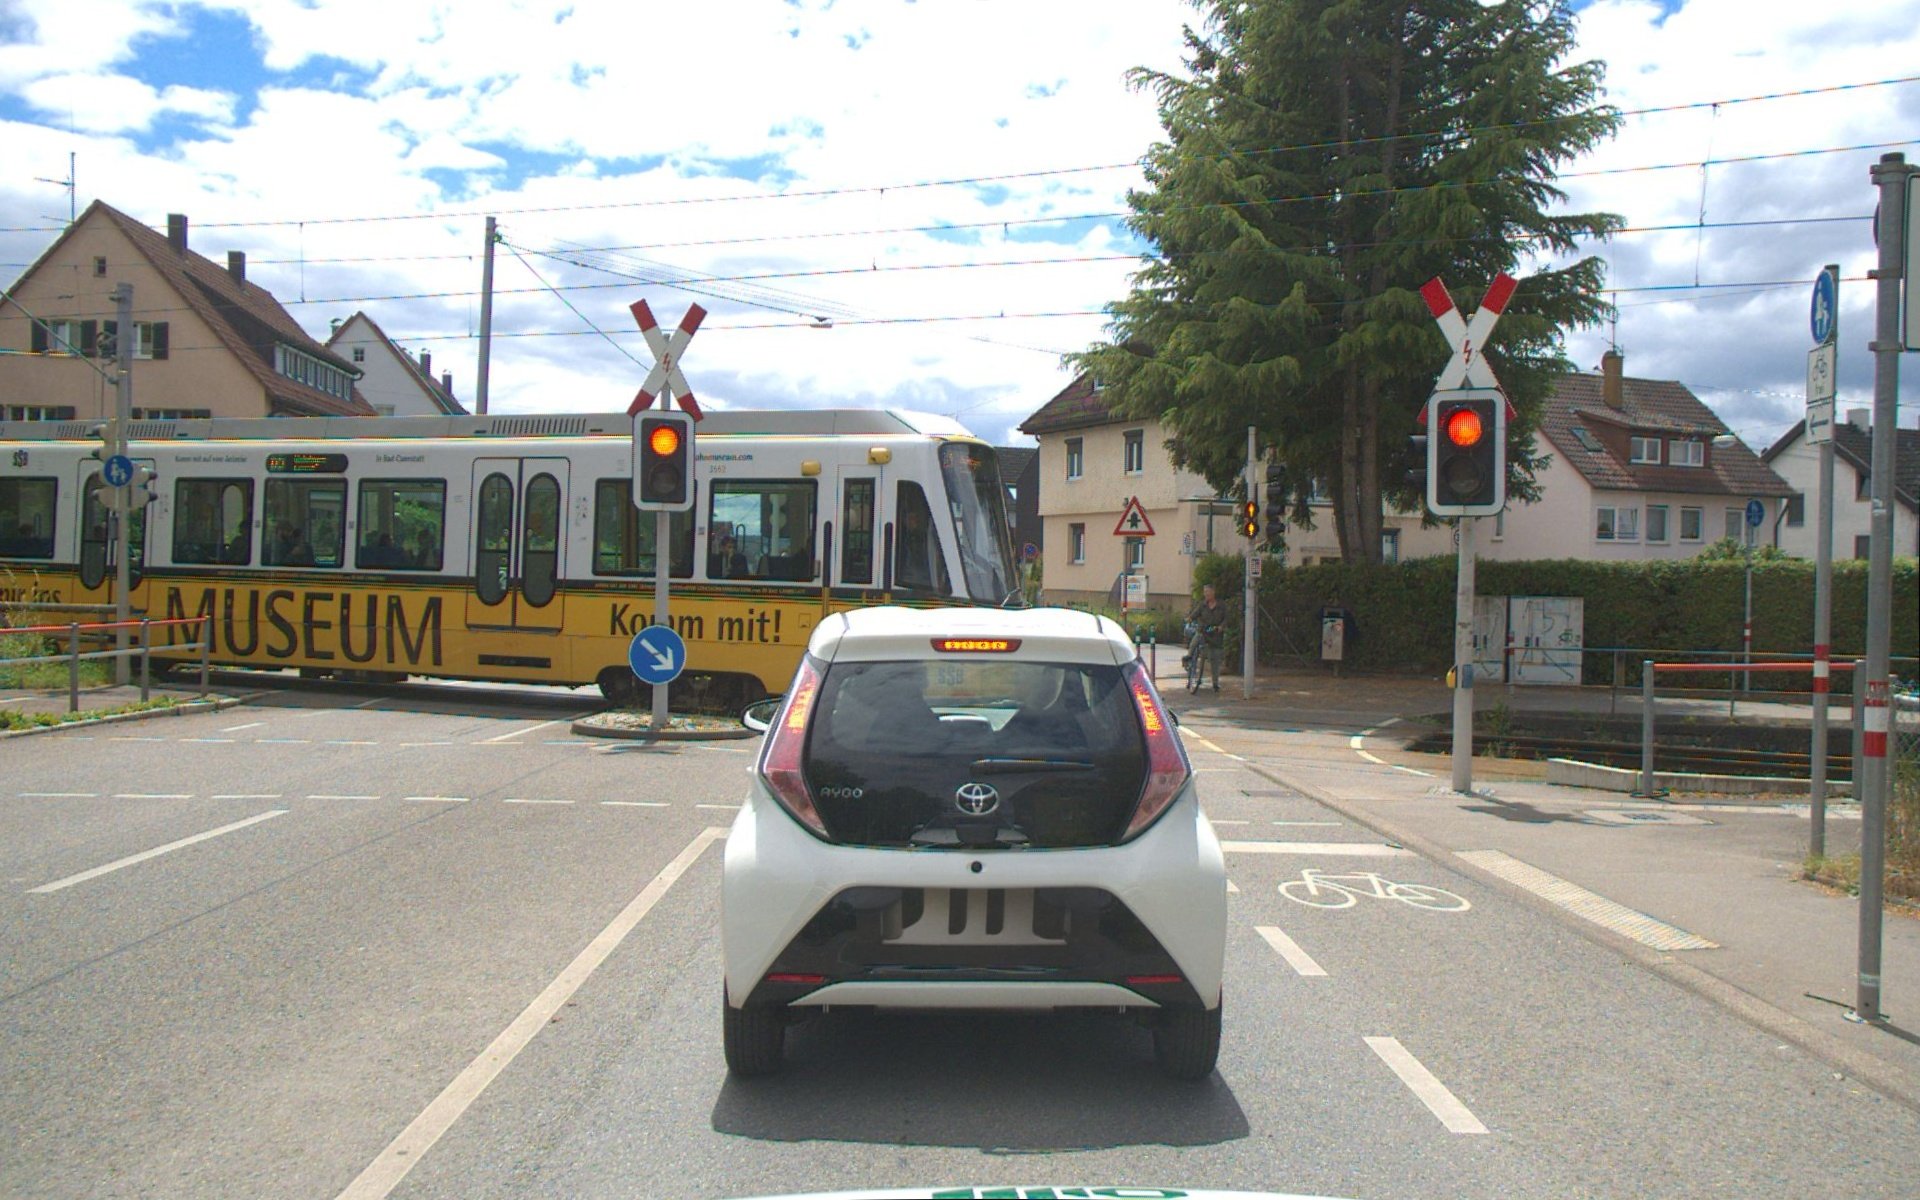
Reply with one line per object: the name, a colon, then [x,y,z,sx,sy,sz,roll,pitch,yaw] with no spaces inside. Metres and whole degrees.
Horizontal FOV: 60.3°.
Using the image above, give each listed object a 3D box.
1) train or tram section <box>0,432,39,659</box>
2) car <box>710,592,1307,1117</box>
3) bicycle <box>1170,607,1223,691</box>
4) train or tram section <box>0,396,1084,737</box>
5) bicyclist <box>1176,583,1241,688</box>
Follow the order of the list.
train or tram section: [-24.845,-1.143,30.316,18.670,3.769,2.919,2,1,22]
car: [0.020,0.718,6.550,1.687,1.467,3.705,1,0,-4]
bicycle: [3.733,0.759,26.213,0.448,1.192,1.477,-2,3,-6]
train or tram section: [-7.635,-0.634,23.212,18.670,3.769,2.919,2,1,22]
bicyclist: [3.949,0.552,26.310,0.825,1.580,0.755,-2,3,-7]
